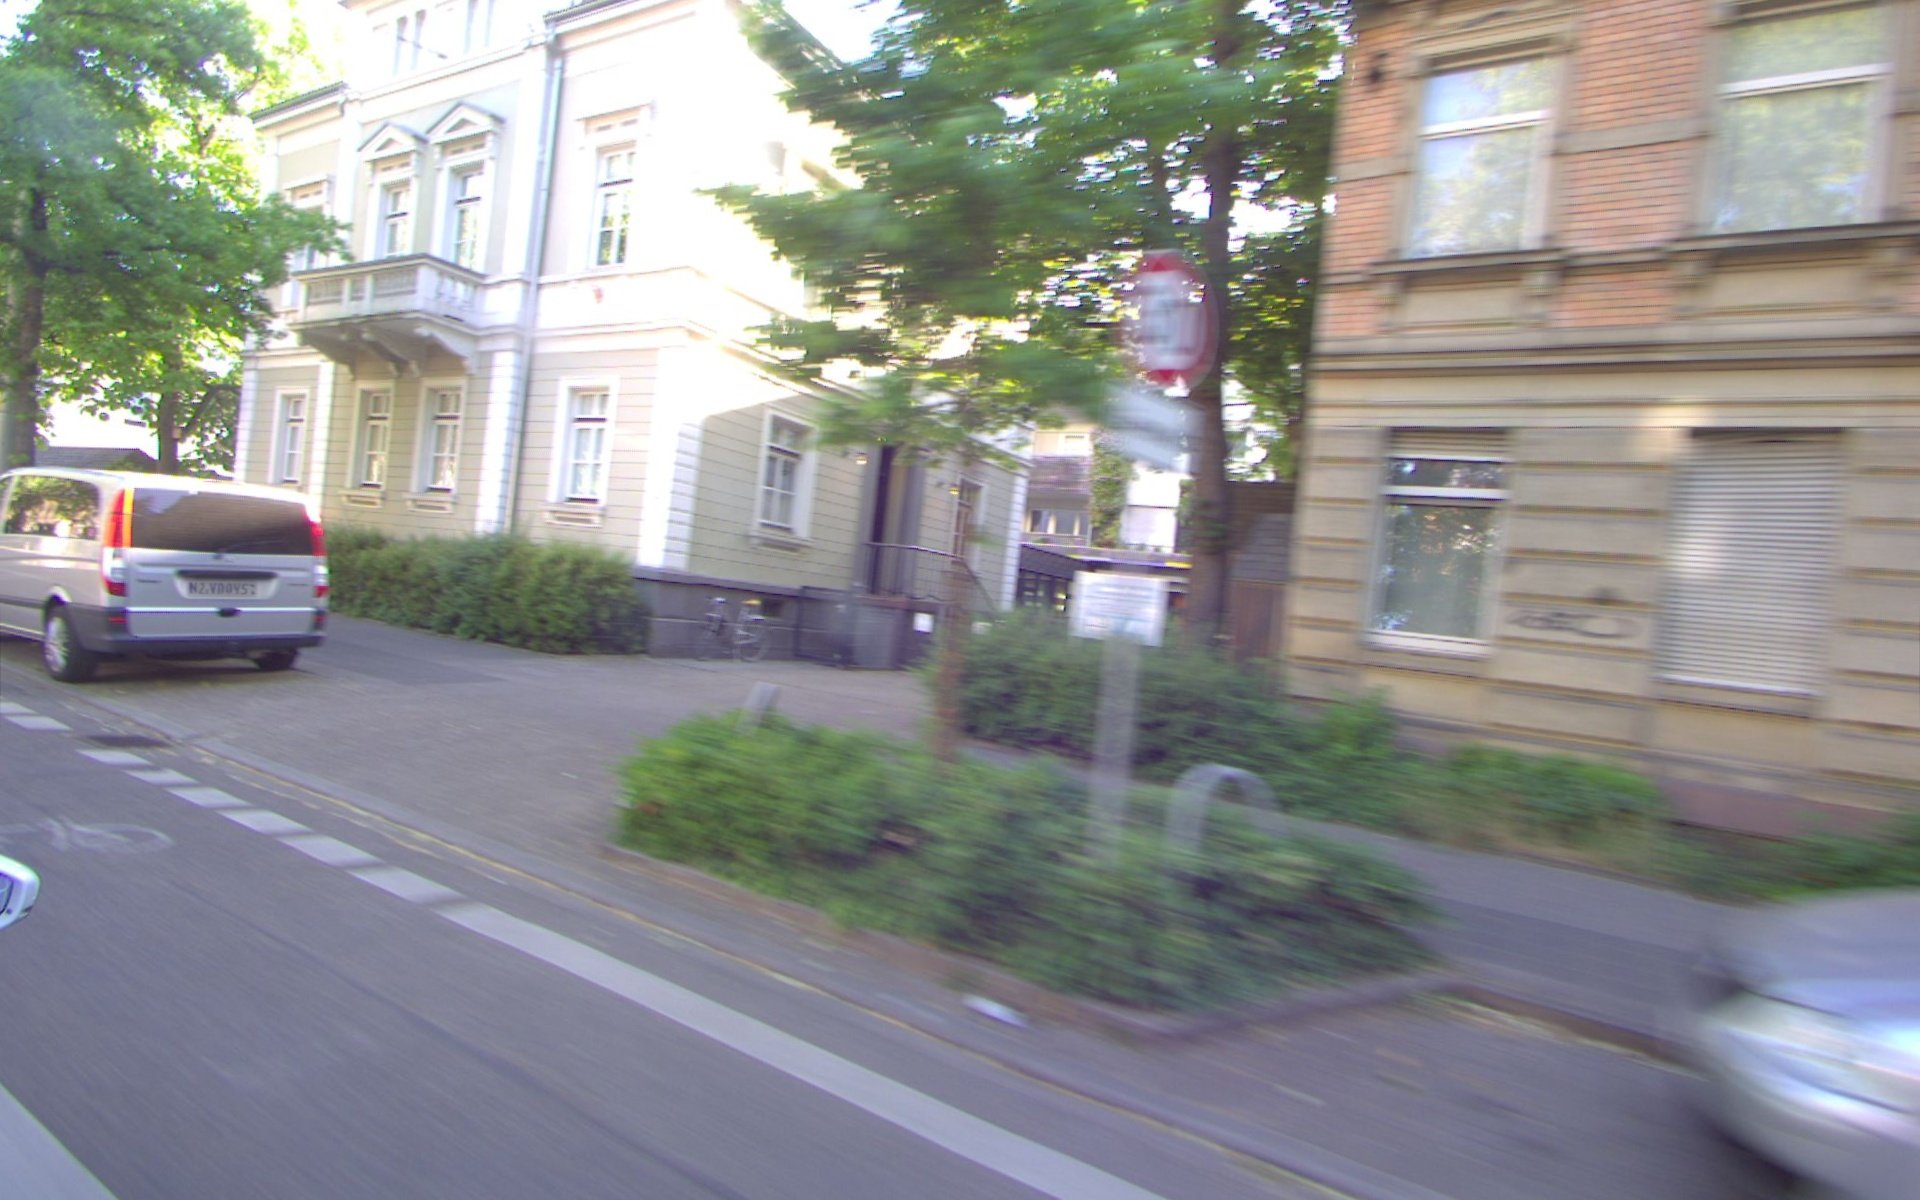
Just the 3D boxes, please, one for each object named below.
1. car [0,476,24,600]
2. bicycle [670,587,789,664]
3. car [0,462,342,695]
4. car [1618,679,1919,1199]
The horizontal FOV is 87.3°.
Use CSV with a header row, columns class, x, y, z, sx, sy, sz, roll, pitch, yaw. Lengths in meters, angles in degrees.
class,x,y,z,sx,sy,sz,roll,pitch,yaw
car,-16.211,-1.147,15.121,4.600,1.788,1.887,6,0,31
bicycle,-3.539,0.417,15.606,0.552,1.048,1.915,6,0,31
car,-8.664,-0.342,10.326,4.885,1.876,1.884,6,2,31
car,4.134,1.277,2.317,4.172,1.589,1.884,6,2,31
